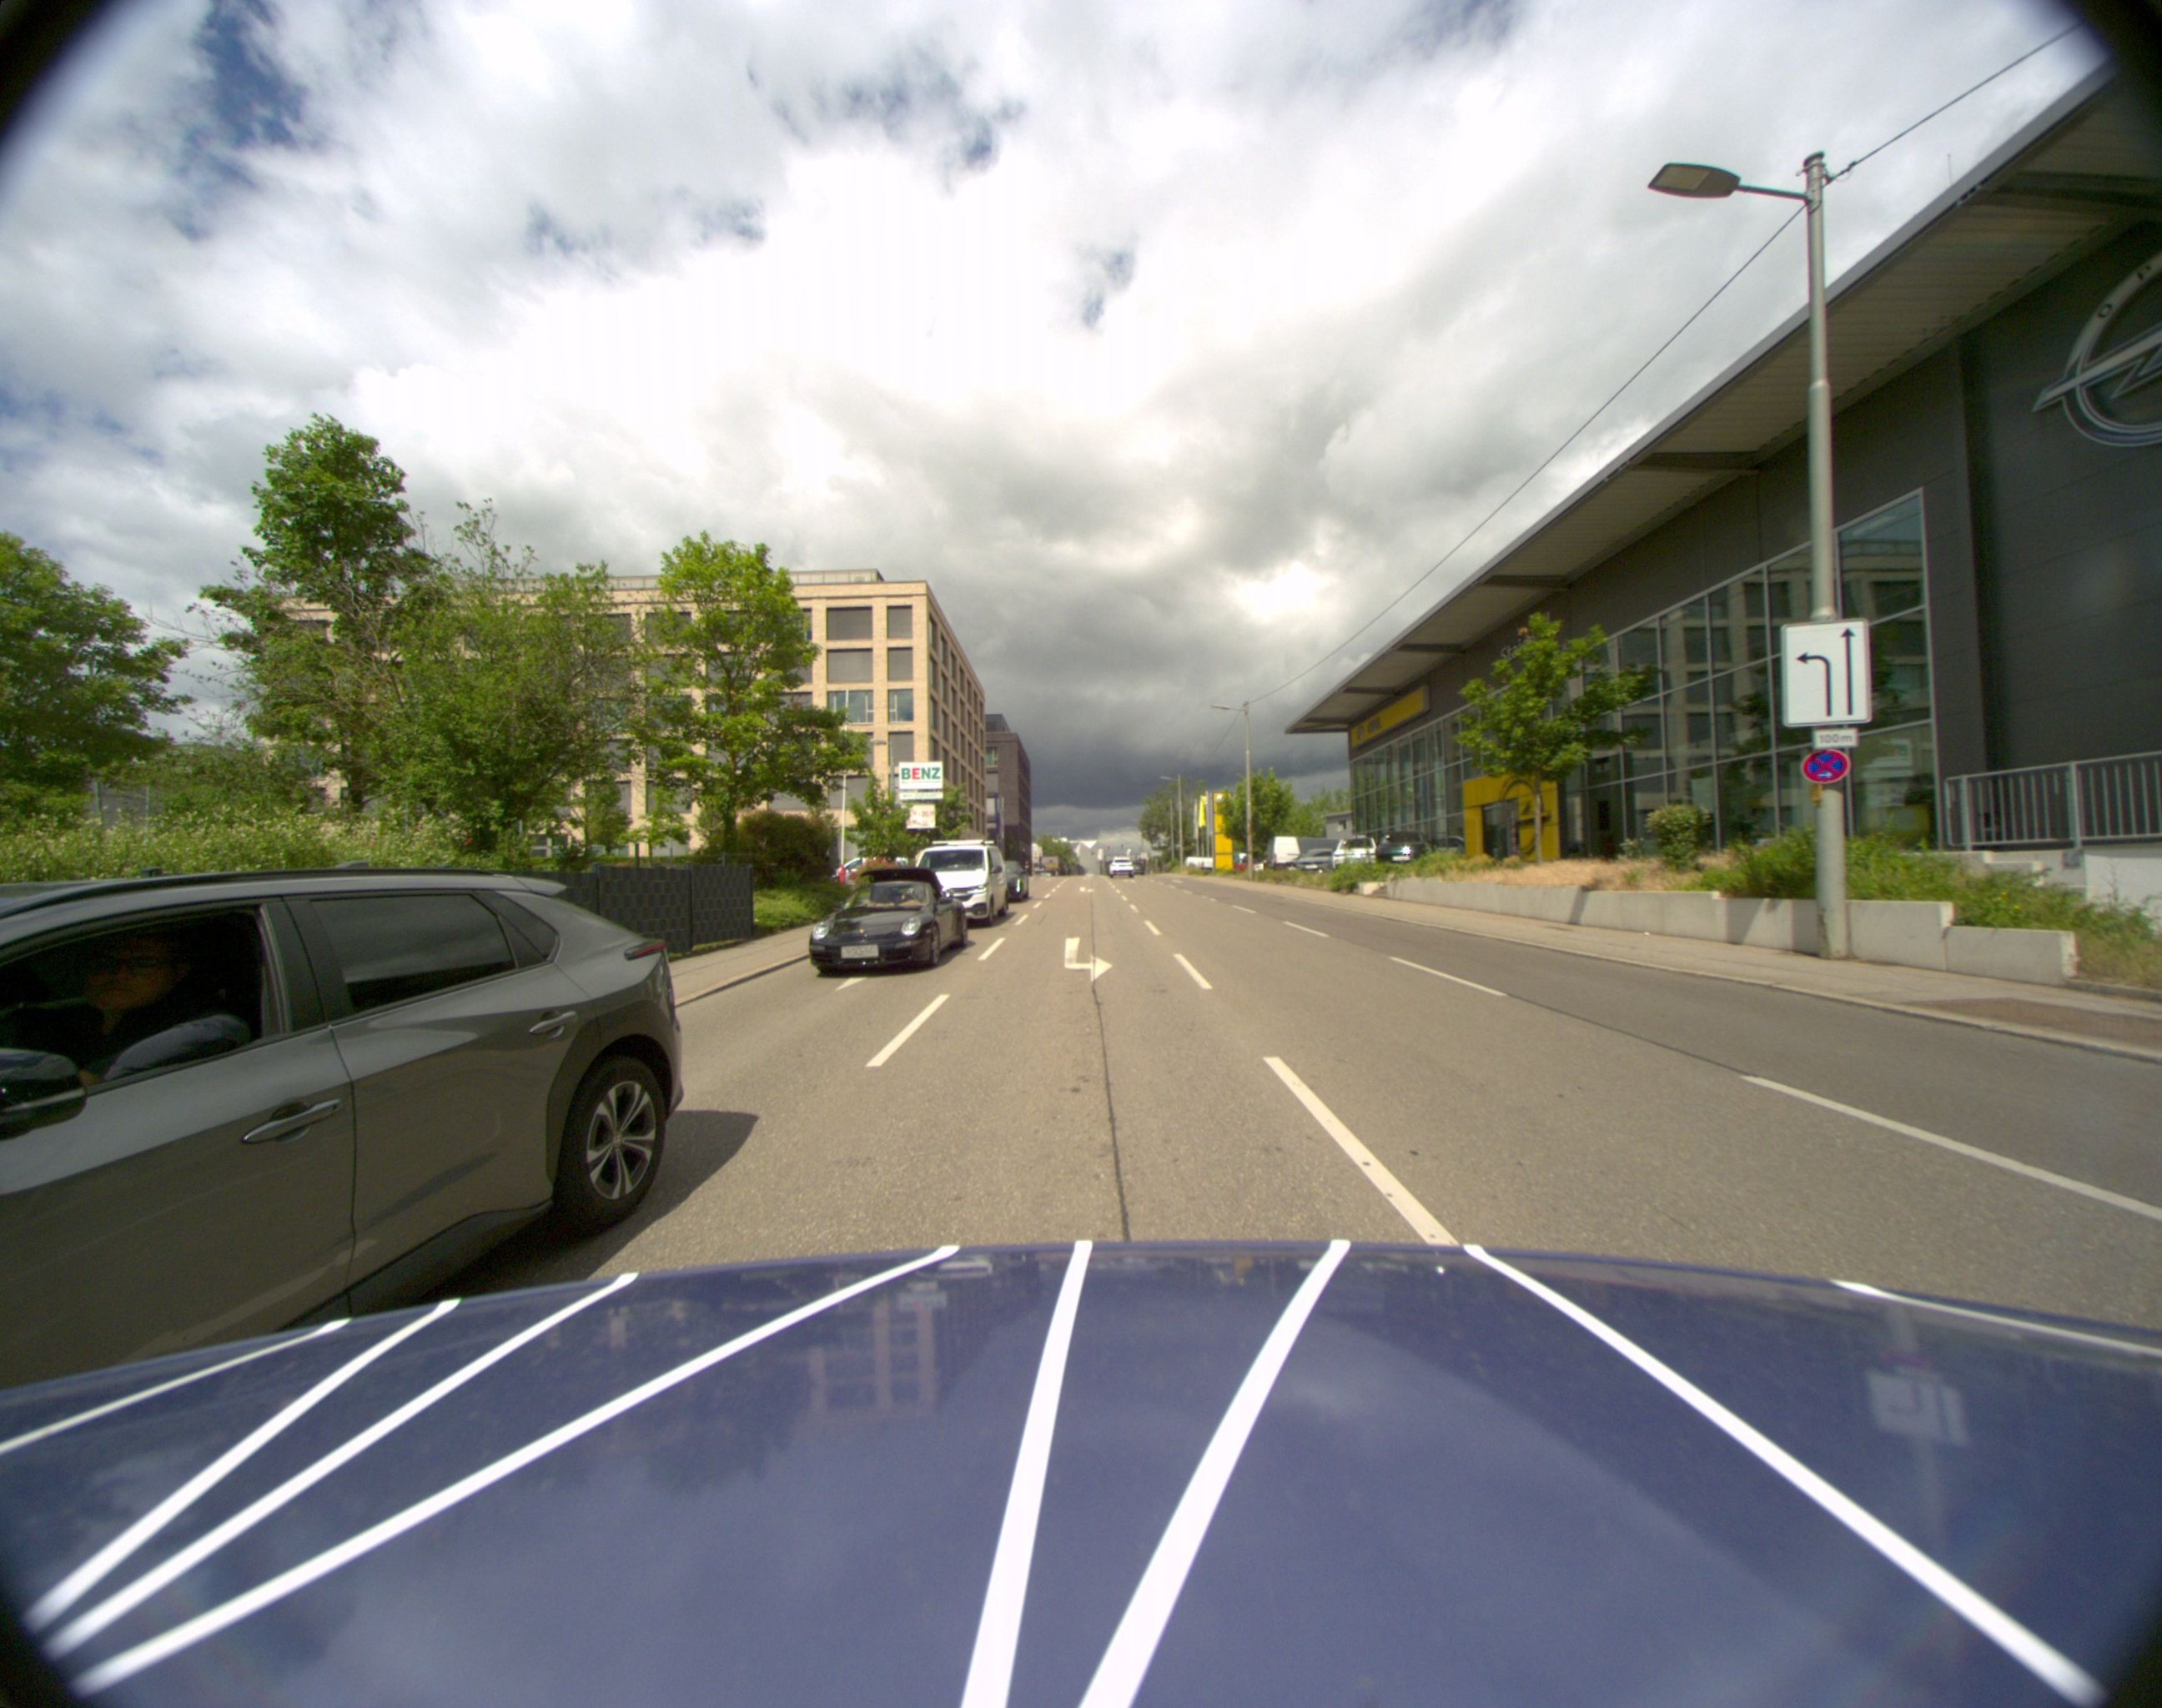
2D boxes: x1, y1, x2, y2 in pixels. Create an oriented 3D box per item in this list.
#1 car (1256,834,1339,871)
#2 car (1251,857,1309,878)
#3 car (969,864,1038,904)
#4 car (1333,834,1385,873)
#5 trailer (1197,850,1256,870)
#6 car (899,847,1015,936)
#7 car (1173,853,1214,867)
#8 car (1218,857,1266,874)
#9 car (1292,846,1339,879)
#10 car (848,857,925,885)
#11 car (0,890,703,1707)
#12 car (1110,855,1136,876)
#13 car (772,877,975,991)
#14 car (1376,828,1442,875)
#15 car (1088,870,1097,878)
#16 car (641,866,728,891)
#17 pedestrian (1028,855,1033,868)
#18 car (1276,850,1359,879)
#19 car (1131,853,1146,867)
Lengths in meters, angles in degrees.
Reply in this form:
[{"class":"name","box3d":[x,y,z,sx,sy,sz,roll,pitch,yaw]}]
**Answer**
[{"class":"car","box3d":[13.581,-0.099,47.822,4.531,2.182,2.179,-1,1,-1]},{"class":"car","box3d":[14.961,1.031,57.291,3.946,1.518,1.561,-1,0,-2]},{"class":"car","box3d":[-2.778,1.053,28.202,1.777,1.267,4.569,-1,0,4]},{"class":"car","box3d":[12.306,-0.021,33.506,1.793,1.604,4.115,-1,1,25]},{"class":"trailer","box3d":[13.145,0.520,68.715,4.835,1.742,2.095,-1,0,-3]},{"class":"car","box3d":[-2.906,0.823,18.860,1.964,1.840,4.645,-3,0,1]},{"class":"car","box3d":[12.459,0.649,84.323,4.252,1.473,2.095,-1,0,-2]},{"class":"car","box3d":[13.705,0.992,64.801,3.669,1.401,1.815,-1,0,2]},{"class":"car","box3d":[12.107,0.417,39.056,1.794,1.604,4.116,-1,0,24]},{"class":"car","box3d":[-11.583,1.011,45.445,4.220,1.567,1.735,-1,0,-4]},{"class":"car","box3d":[-2.989,1.026,1.605,1.924,1.604,4.683,-3,0,1]},{"class":"car","box3d":[3.417,0.908,61.923,1.924,1.604,4.416,0,0,1]},{"class":"car","box3d":[-2.988,1.099,12.040,1.777,1.267,4.569,-3,0,2]},{"class":"car","box3d":[12.415,-0.104,28.642,1.816,1.604,4.117,2,1,30]},{"class":"car","box3d":[2.421,4.256,162.551,1.866,1.398,4.000,-1,0,1]},{"class":"car","box3d":[-23.379,1.429,44.910,4.219,1.410,1.735,-1,0,-1]},{"class":"pedestrian","box3d":[-5.887,0.851,88.541,0.578,1.497,0.542,-1,1,1]},{"class":"car","box3d":[13.334,0.581,43.018,4.108,1.604,1.797,-1,0,-8]},{"class":"car","box3d":[7.016,0.714,92.525,1.762,1.513,3.959,-1,0,5]}]
